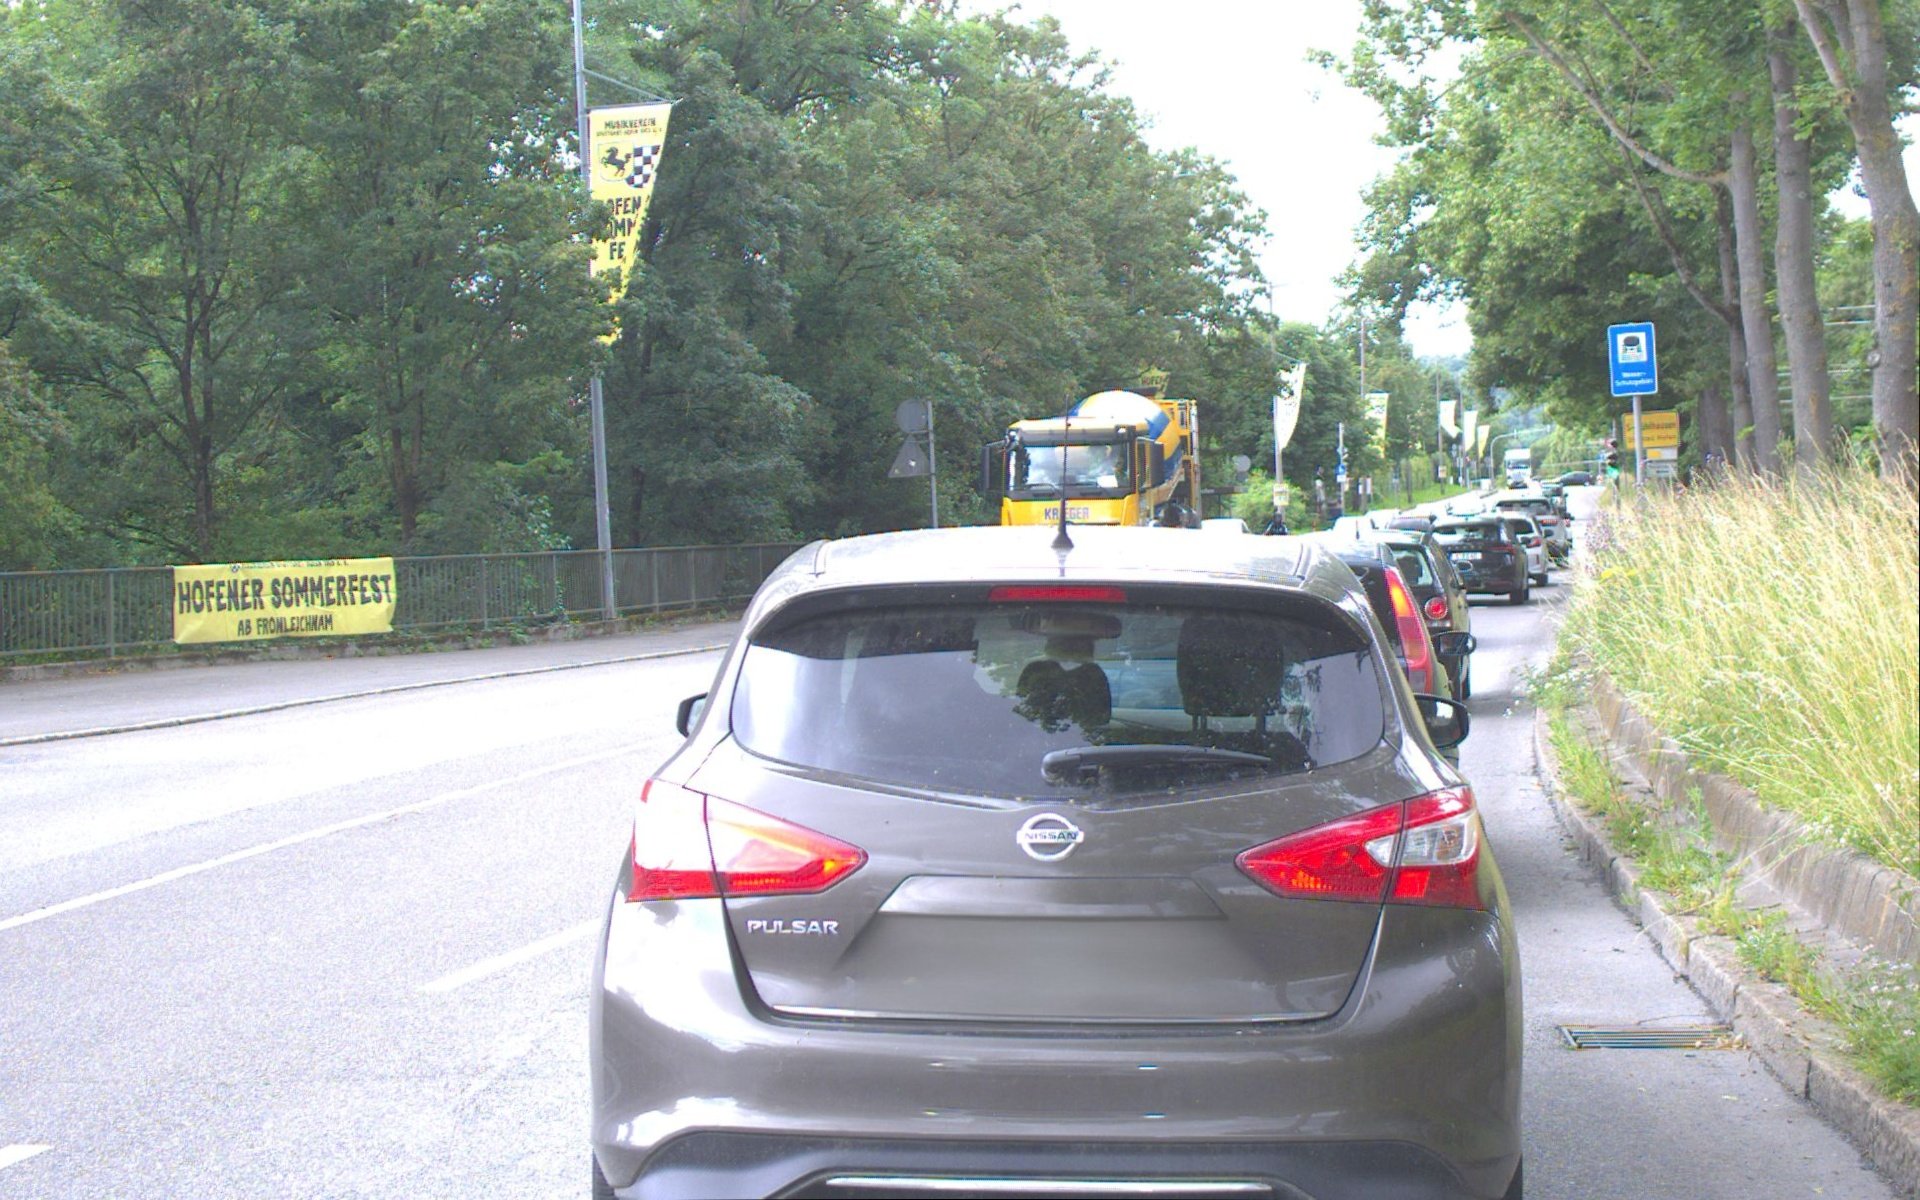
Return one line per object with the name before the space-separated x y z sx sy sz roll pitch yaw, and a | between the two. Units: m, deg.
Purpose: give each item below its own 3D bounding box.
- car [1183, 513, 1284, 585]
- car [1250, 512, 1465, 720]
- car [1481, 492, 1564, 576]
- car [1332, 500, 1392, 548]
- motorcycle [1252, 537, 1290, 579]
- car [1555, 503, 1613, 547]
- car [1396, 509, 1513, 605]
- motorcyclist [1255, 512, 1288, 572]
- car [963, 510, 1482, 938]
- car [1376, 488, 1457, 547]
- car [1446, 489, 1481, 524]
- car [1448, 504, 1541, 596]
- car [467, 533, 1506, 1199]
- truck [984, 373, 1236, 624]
car | 5.857 -1.116 73.280 1.767 1.474 3.999 0 1 10
car | 3.251 0.104 28.084 1.578 1.533 3.999 -2 0 7
car | 13.971 -1.646 85.246 1.892 2.007 3.998 -1 1 11
car | 13.455 -2.532 115.067 1.722 1.437 3.998 -2 -1 10
motorcycle | 7.944 -1.076 87.737 0.745 1.030 1.887 -1 1 12
car | 21.506 -2.583 118.385 1.892 1.440 3.805 -1 1 11
car | 8.222 -0.708 57.005 1.805 1.535 3.998 0 0 10
motorcyclist | 7.954 -1.484 87.729 0.745 1.533 0.790 -1 1 12
car | 1.092 0.458 14.684 1.893 1.568 3.999 -1 0 4
car | 12.457 -2.225 93.588 1.852 1.481 4.418 -1 0 12
car | 27.518 -5.100 187.787 1.719 1.687 3.724 -2 -1 10
car | 10.761 -0.976 69.033 1.719 1.687 3.998 -2 -1 10
car | 0.208 0.629 7.857 1.775 1.489 3.999 0 0 5
truck | 2.739 -1.691 58.922 2.656 3.925 10.106 0 1 12
